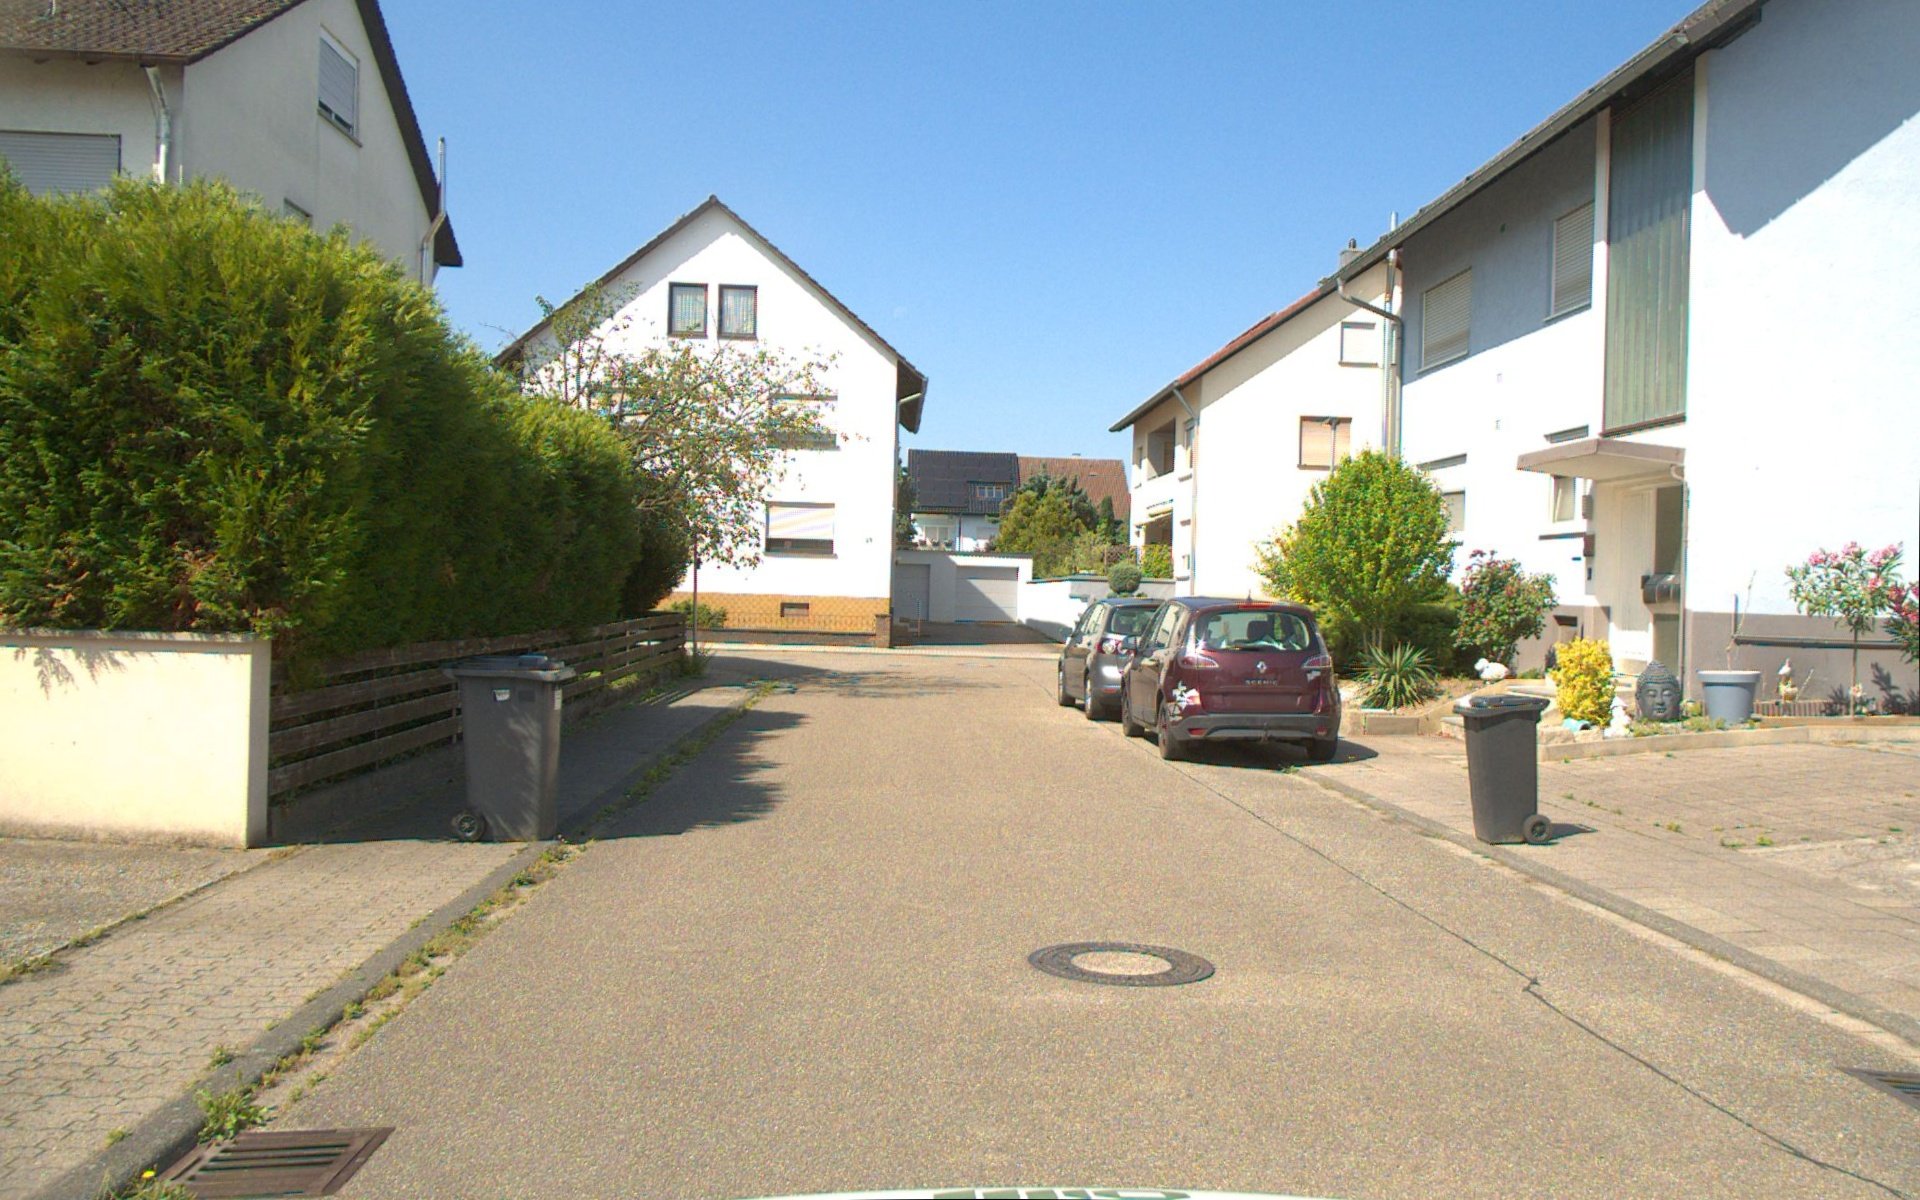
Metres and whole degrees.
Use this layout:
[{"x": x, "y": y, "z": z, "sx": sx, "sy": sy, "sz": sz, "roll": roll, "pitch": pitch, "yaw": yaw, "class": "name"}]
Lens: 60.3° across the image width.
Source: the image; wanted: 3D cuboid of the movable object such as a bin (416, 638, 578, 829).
[{"x": -2.768, "y": 0.787, "z": 9.953, "sx": 0.802, "sy": 1.082, "sz": 0.610, "roll": 1, "pitch": 0, "yaw": -3, "class": "movable object such as a bin"}]

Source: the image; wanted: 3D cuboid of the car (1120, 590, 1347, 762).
[{"x": 2.816, "y": 0.716, "z": 17.876, "sx": 1.612, "sy": 1.609, "sz": 4.146, "roll": 1, "pitch": 0, "yaw": -2, "class": "car"}]

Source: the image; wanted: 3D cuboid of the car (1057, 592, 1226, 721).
[{"x": 2.398, "y": 0.700, "z": 22.788, "sx": 1.612, "sy": 1.573, "sz": 4.044, "roll": 1, "pitch": 0, "yaw": -4, "class": "car"}]
